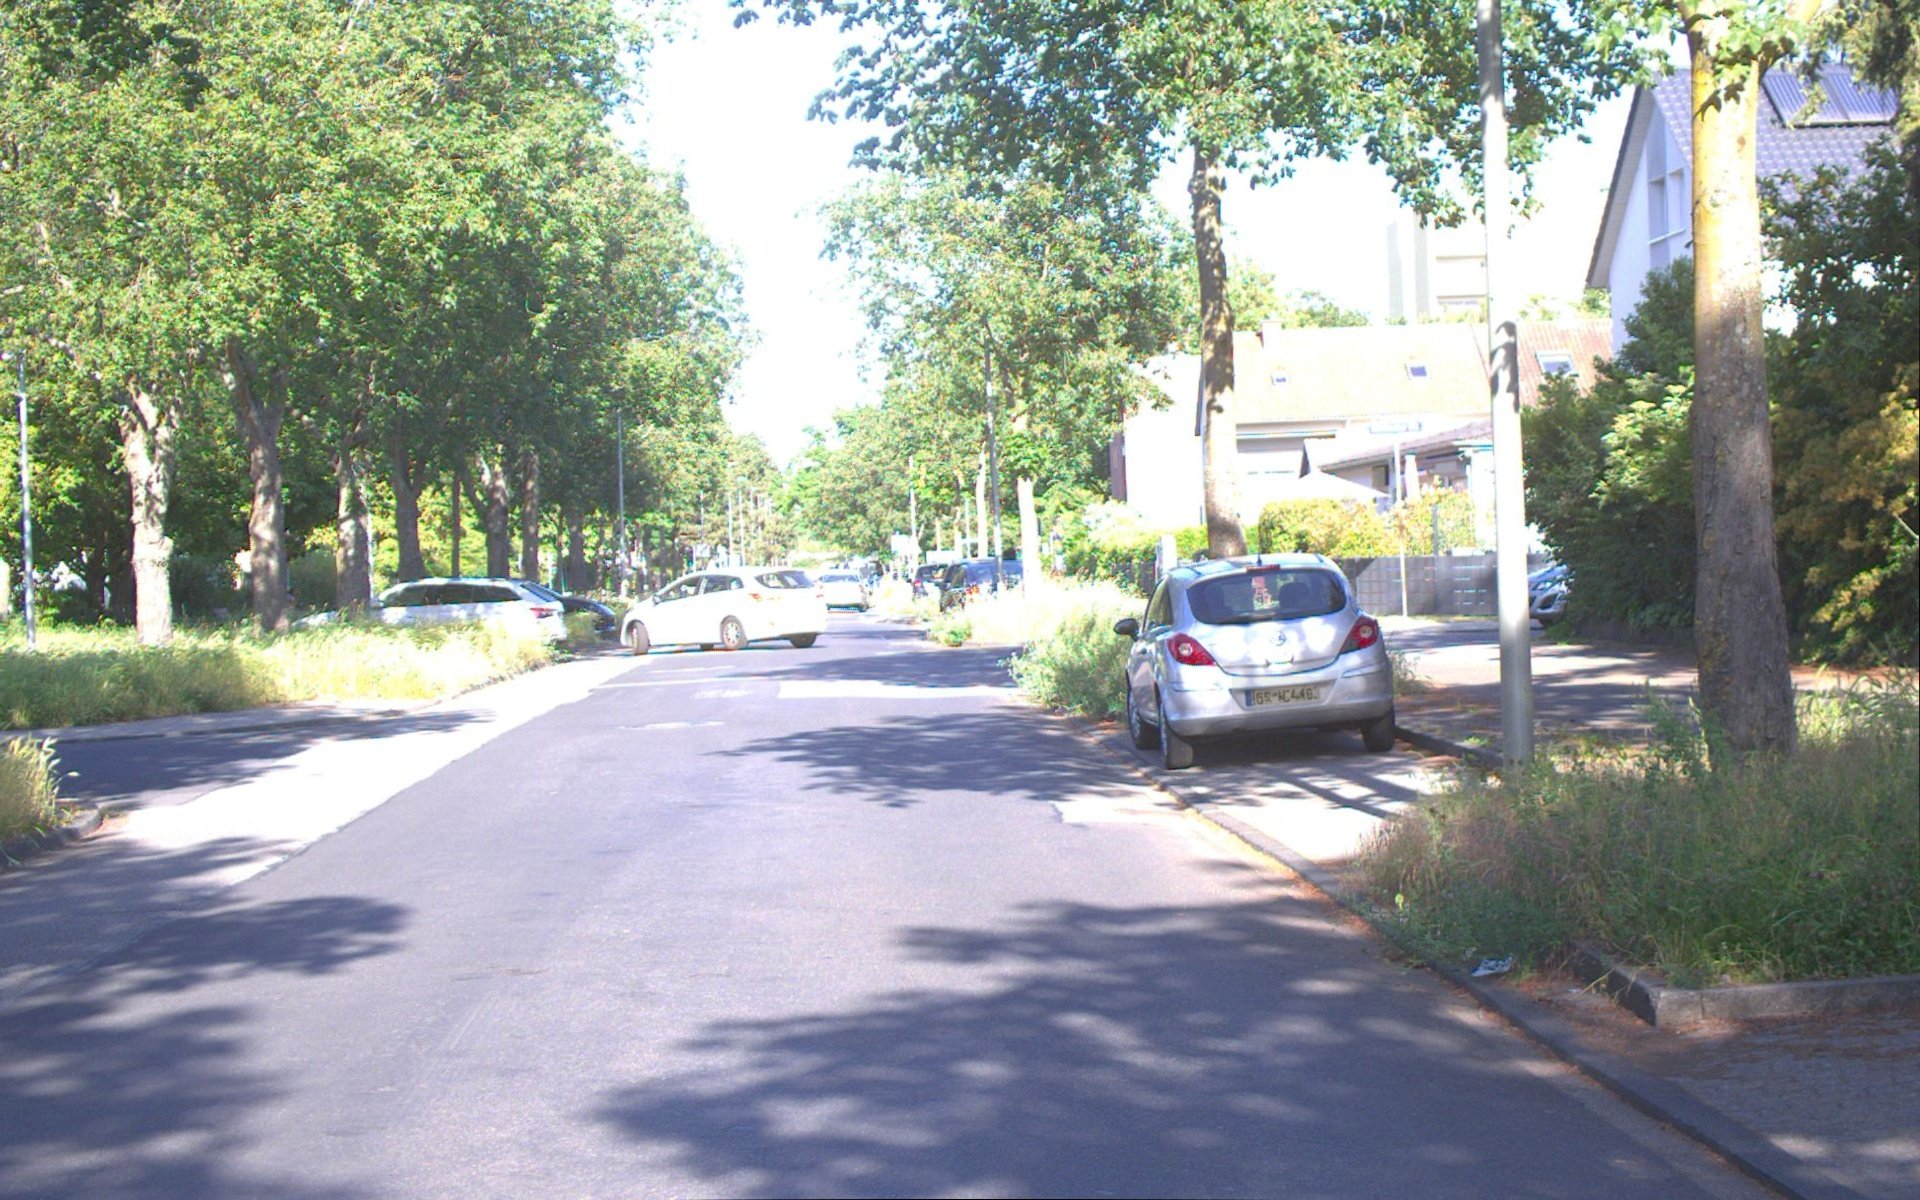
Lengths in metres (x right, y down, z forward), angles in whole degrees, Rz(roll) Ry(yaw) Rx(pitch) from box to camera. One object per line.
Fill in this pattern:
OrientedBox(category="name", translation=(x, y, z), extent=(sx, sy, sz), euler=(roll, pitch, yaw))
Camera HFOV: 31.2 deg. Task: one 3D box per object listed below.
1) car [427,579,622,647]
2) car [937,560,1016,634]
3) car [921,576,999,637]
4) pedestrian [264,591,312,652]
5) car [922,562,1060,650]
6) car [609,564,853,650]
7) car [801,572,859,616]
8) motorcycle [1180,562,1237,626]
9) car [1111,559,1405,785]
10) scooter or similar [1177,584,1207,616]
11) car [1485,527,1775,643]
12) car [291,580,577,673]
OrientedBox(category="car", translation=(-10.072, 0.300, 79.803), extent=(4.366, 1.526, 1.808), euler=(0, 0, -3))
OrientedBox(category="car", translation=(0.349, -0.063, 78.208), extent=(1.610, 1.616, 4.382), euler=(1, 0, -2))
OrientedBox(category="car", translation=(-0.019, 0.216, 105.276), extent=(1.993, 1.722, 4.000), euler=(-3, 0, -4))
OrientedBox(category="pedestrian", translation=(-20.228, 0.641, 103.428), extent=(1.224, 1.821, 1.551), euler=(0, -1, -19))
OrientedBox(category="car", translation=(0.553, 0.111, 66.463), extent=(1.993, 1.616, 4.382), euler=(1, 0, -8))
OrientedBox(category="car", translation=(-4.143, 0.135, 61.810), extent=(4.221, 1.450, 1.995), euler=(-1, 1, 43))
OrientedBox(category="car", translation=(-4.618, -0.212, 121.803), extent=(1.993, 1.503, 3.658), euler=(1, 0, -2))
OrientedBox(category="motorcycle", translation=(4.983, -0.137, 69.103), extent=(0.818, 1.223, 2.352), euler=(-3, 1, -3))
OrientedBox(category="car", translation=(2.258, 0.517, 26.197), extent=(1.994, 1.505, 3.999), euler=(-3, 0, 5))
OrientedBox(category="scooter or similar", translation=(6.273, 0.003, 93.051), extent=(0.368, 0.855, 1.412), euler=(0, 0, -15))
OrientedBox(category="car", translation=(10.321, -0.235, 53.111), extent=(3.986, 1.634, 1.777), euler=(-2, 1, -8))
OrientedBox(category="car", translation=(-9.146, 0.446, 60.049), extent=(4.671, 1.498, 2.000), euler=(-1, 0, -1))
